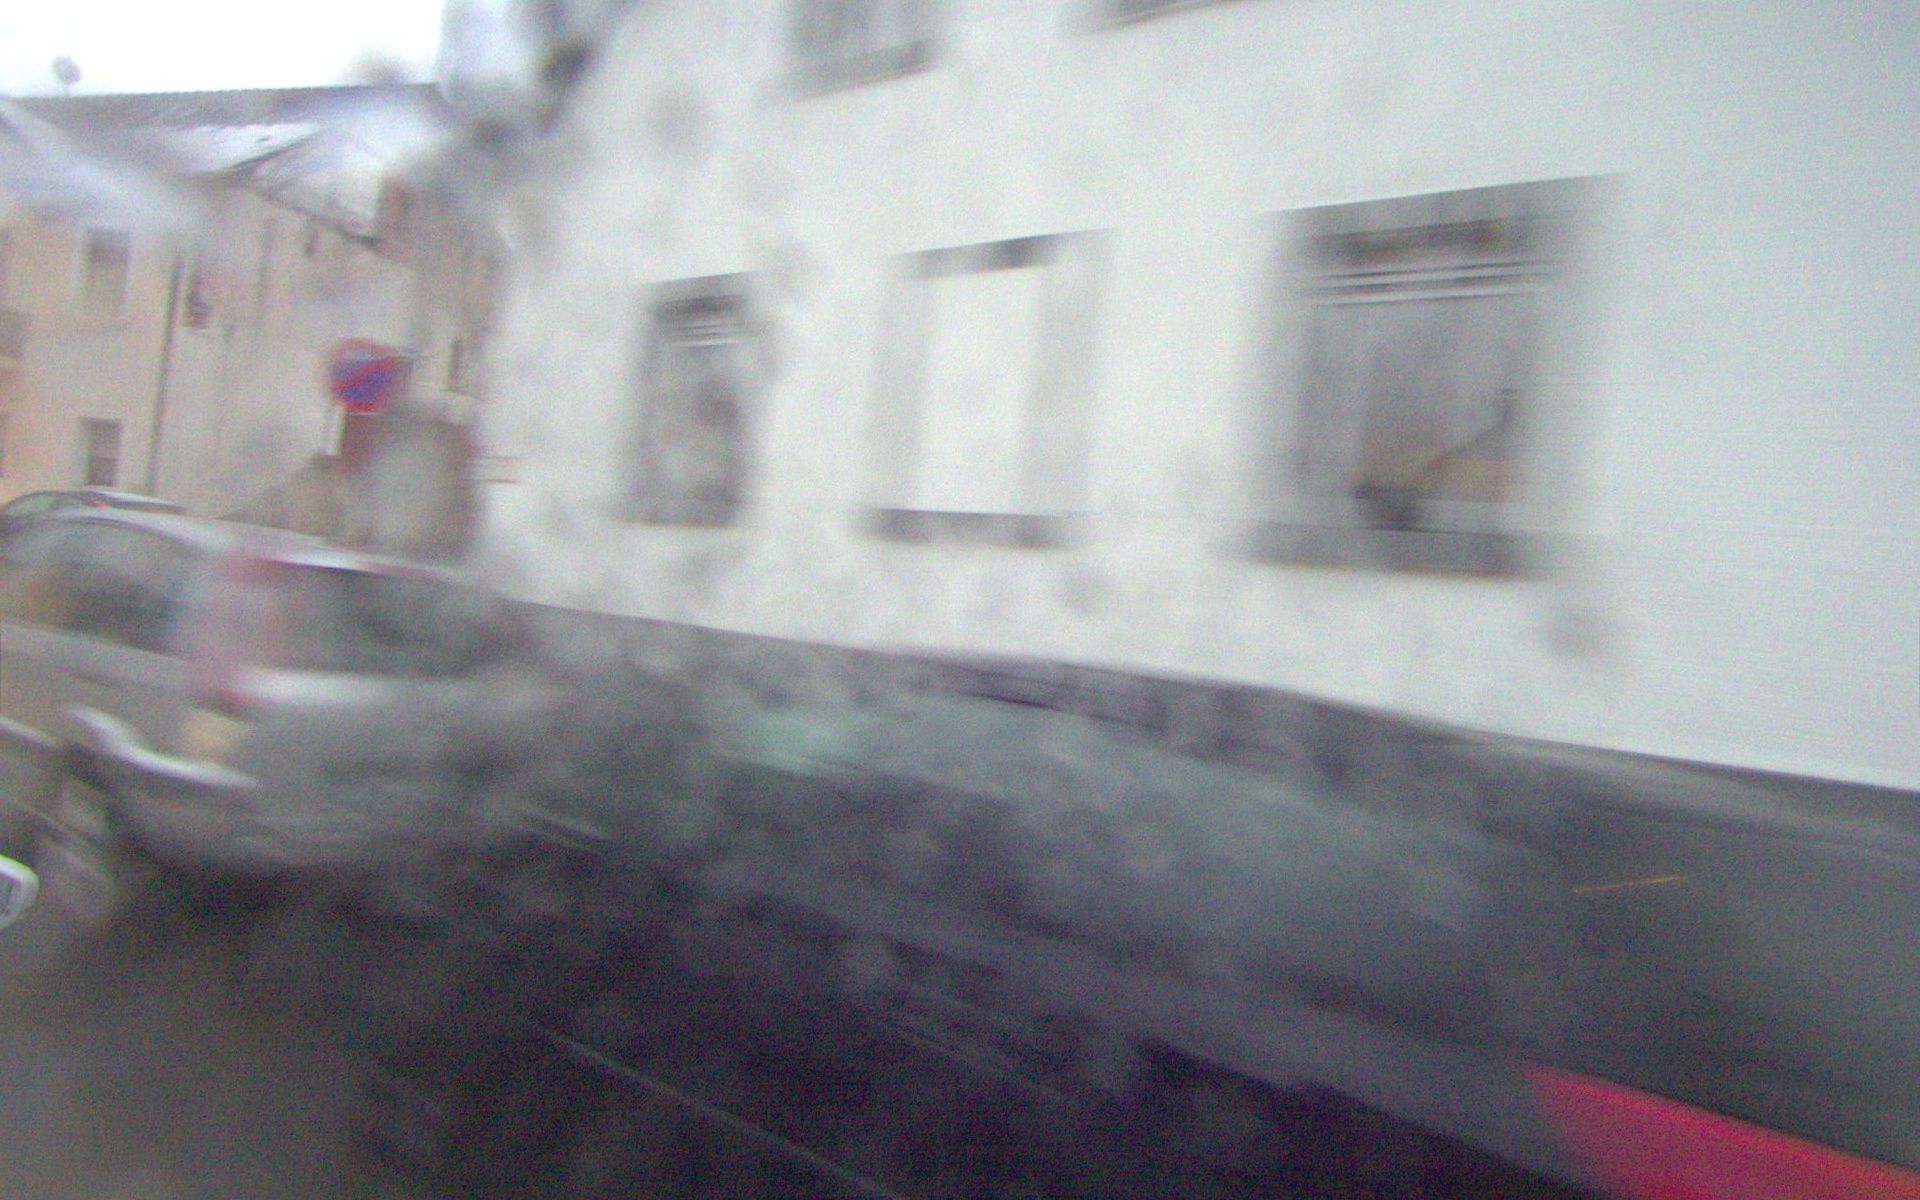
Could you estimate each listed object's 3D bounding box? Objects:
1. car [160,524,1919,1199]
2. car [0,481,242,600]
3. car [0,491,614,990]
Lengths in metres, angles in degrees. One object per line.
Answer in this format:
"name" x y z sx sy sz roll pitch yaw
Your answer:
"car" -0.056 0.809 2.577 3.932 1.488 1.642 7 -3 30
"car" -13.836 -0.974 15.886 4.197 1.506 1.812 6 1 16
"car" -3.781 0.379 4.875 3.932 1.510 1.642 7 -3 30
